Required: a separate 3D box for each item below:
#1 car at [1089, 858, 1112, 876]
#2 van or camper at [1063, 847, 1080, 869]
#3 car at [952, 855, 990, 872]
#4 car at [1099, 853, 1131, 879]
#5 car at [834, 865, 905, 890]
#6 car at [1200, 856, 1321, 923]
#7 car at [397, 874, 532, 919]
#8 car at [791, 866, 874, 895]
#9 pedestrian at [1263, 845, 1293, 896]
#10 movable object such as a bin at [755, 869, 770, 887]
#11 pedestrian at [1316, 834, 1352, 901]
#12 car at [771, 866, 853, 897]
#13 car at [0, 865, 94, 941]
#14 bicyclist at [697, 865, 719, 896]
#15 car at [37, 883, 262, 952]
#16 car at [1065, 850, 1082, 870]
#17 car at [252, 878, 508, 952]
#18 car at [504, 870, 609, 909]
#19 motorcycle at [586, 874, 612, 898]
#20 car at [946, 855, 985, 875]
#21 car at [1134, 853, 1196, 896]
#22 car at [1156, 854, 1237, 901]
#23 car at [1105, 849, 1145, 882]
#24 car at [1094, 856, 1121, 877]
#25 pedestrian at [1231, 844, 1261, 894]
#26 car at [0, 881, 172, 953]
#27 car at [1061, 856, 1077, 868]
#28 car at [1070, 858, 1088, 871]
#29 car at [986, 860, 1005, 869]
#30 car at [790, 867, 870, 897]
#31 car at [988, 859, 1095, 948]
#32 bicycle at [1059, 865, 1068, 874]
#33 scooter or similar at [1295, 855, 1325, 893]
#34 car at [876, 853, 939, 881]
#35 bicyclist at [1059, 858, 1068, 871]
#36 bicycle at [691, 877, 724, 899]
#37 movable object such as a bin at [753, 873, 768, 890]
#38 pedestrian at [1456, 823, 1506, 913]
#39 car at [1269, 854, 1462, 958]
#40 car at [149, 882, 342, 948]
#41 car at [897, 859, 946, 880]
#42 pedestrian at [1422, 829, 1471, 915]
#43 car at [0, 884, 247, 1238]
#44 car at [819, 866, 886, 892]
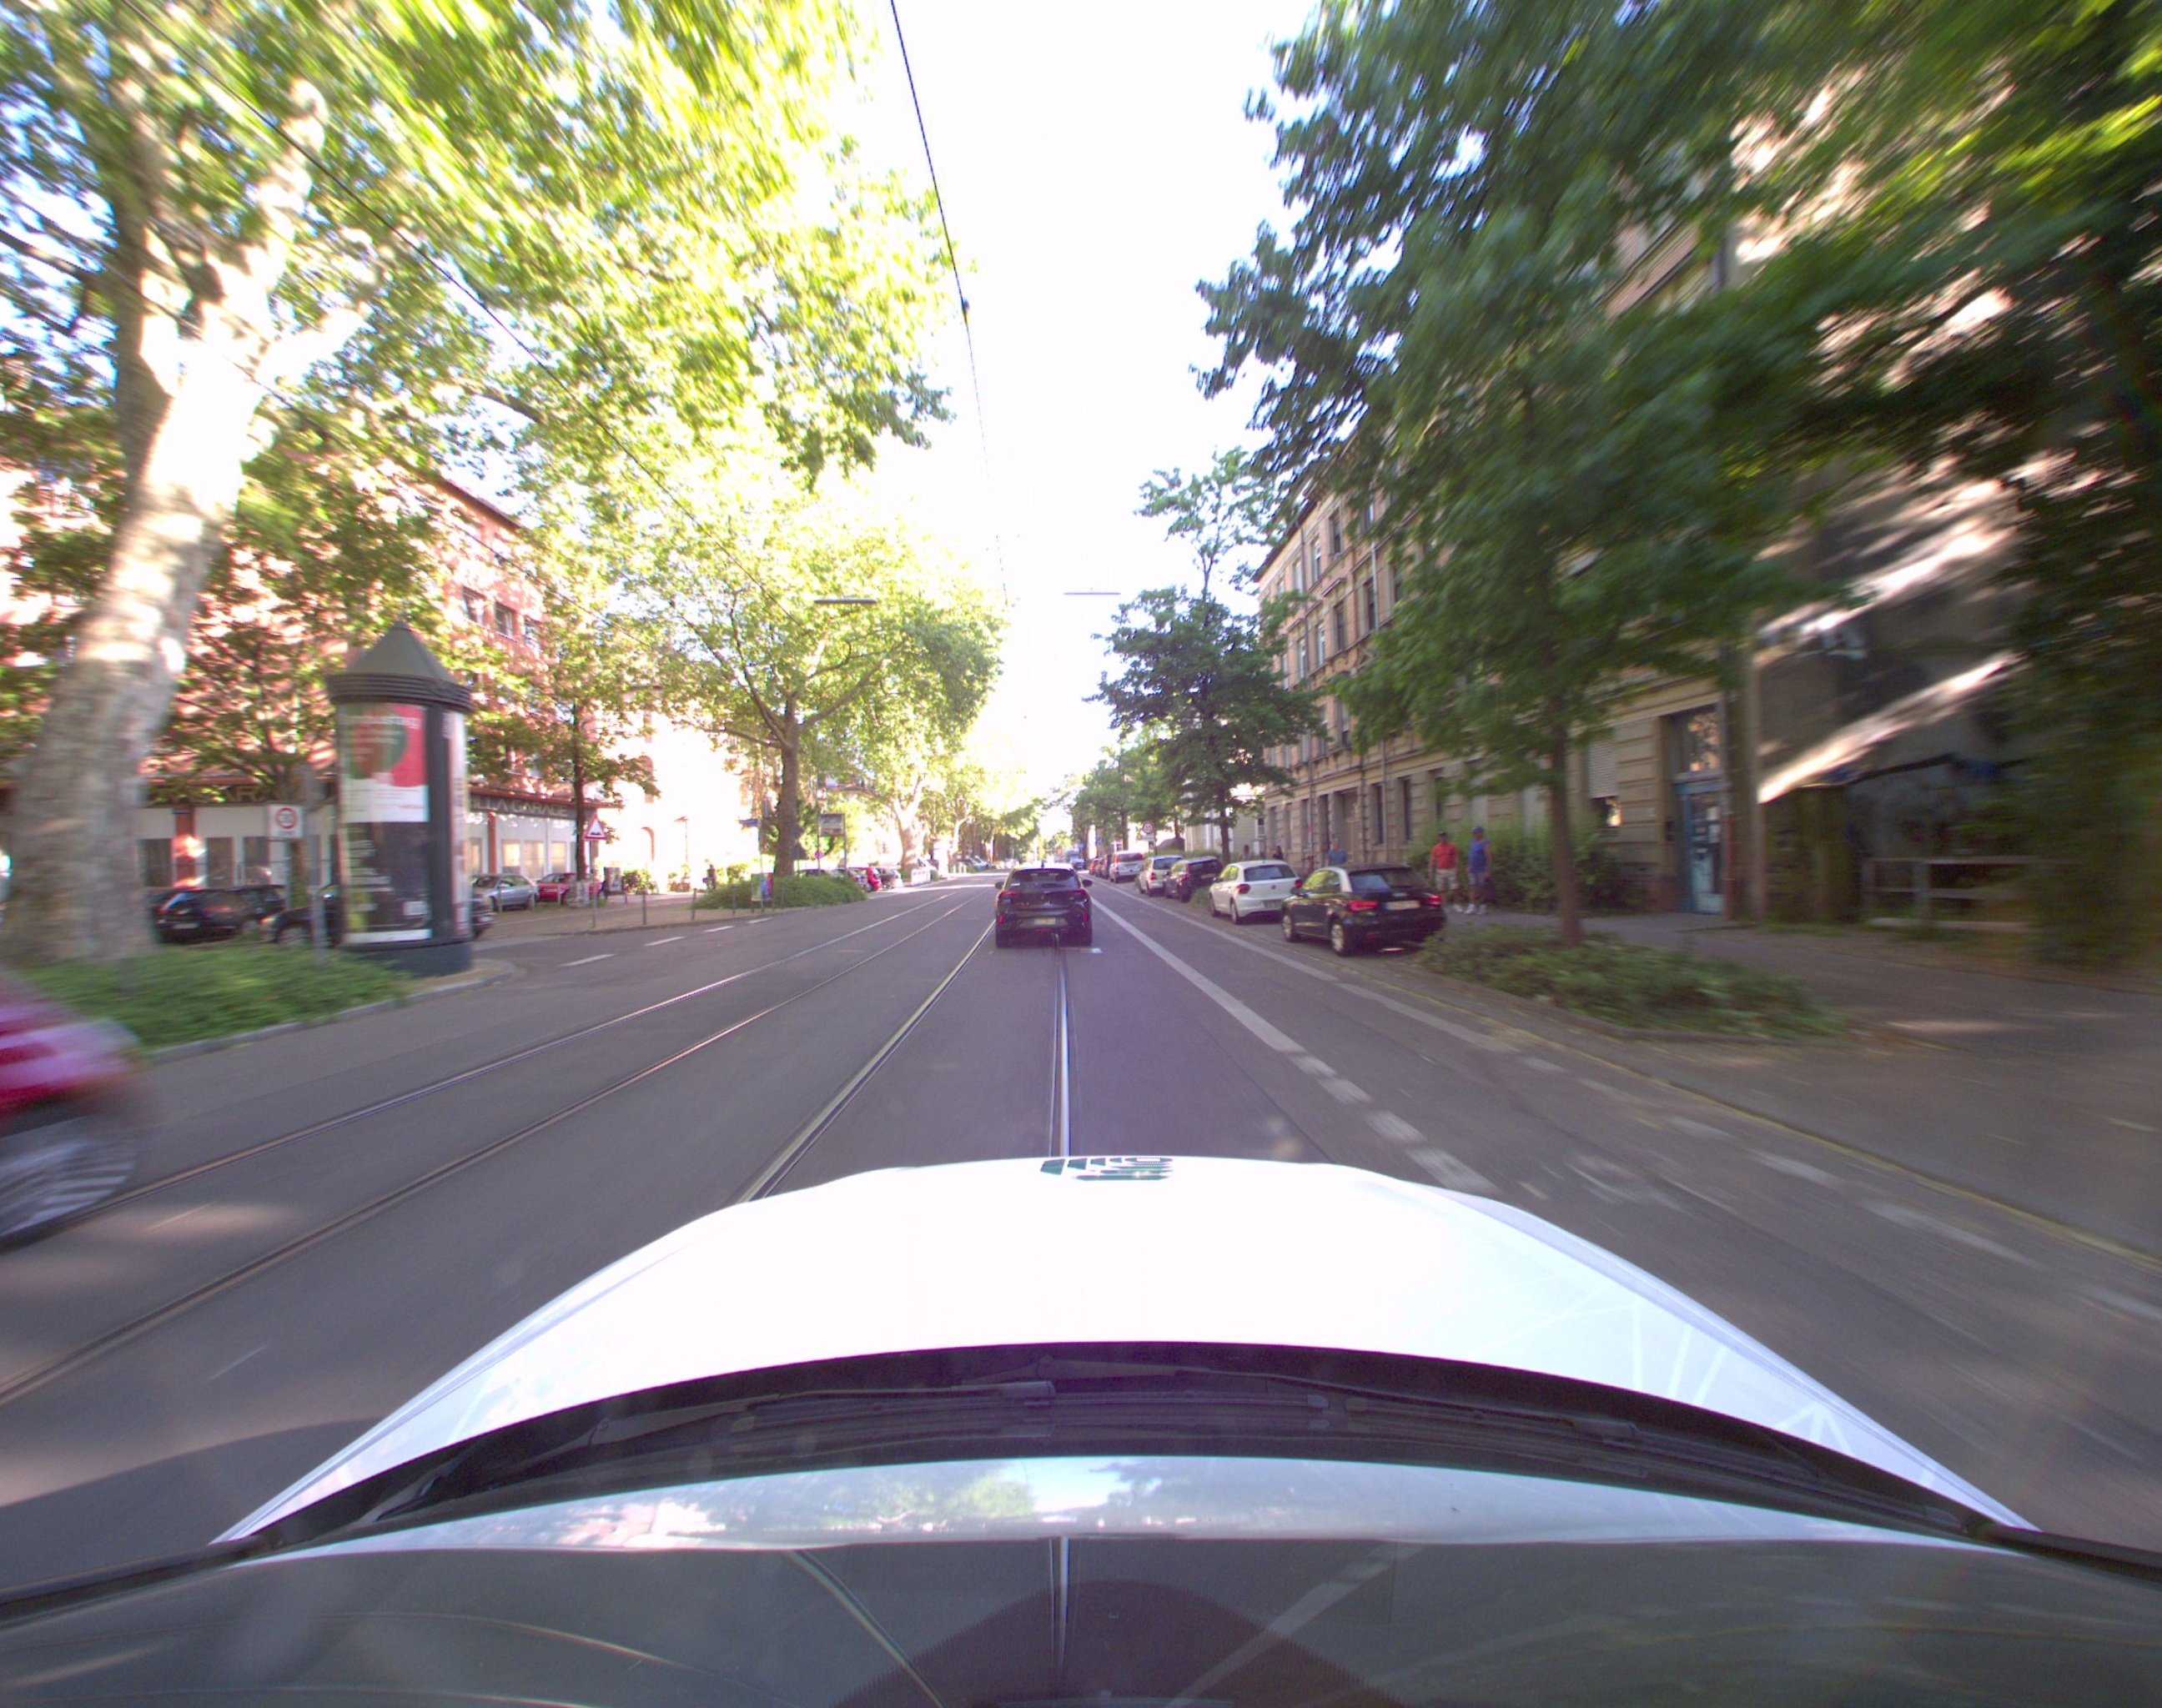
[{"bbox_3d":[1.739,1.170,73.770,1.699,1.423,3.974,-5,0,-3],"label":"car"},{"bbox_3d":[-1.484,0.607,123.718,2.249,3.216,5.524,-3,-1,-3],"label":"van or camper"},{"bbox_3d":[-17.239,1.435,128.291,5.619,2.593,2.196,-1,-1,0],"label":"car"},{"bbox_3d":[2.436,0.855,59.293,1.881,1.766,4.672,-2,-1,-3],"label":"car"},{"bbox_3d":[-13.059,1.452,50.460,3.978,1.465,1.852,-1,-1,-4],"label":"car"},{"bbox_3d":[4.364,0.826,20.517,1.880,1.368,4.102,-4,0,-3],"label":"car"},{"bbox_3d":[-21.803,1.468,29.008,1.943,1.407,3.889,-1,-1,-2],"label":"car"},{"bbox_3d":[-13.789,1.463,45.333,4.071,1.465,1.820,-1,-1,-1],"label":"car"},{"bbox_3d":[6.787,0.566,28.097,0.725,1.709,0.854,-1,-1,-7],"label":"pedestrian"},{"bbox_3d":[-20.724,1.566,52.980,0.721,1.109,0.560,-1,-1,-2],"label":"movable object such as a bin"},{"bbox_3d":[6.936,0.365,22.334,0.731,1.793,0.594,0,-1,-33],"label":"pedestrian"},{"bbox_3d":[-13.235,1.343,40.199,3.410,1.465,1.696,-1,-1,-1],"label":"car"},{"bbox_3d":[-29.635,1.319,21.441,1.995,2.003,4.900,-1,-1,-12],"label":"car"},{"bbox_3d":[-18.653,1.302,40.724,0.800,1.507,1.112,-1,-1,-13],"label":"bicyclist"},{"bbox_3d":[-24.754,1.612,21.910,1.996,1.526,3.982,-1,-1,-13],"label":"car"},{"bbox_3d":[-1.129,0.816,117.168,2.080,2.772,4.692,-3,0,-3],"label":"car"},{"bbox_3d":[-15.477,1.308,18.199,3.985,1.449,1.738,-1,0,-8],"label":"car"},{"bbox_3d":[-22.074,1.459,34.467,1.943,1.487,3.996,-1,-1,-2],"label":"car"},{"bbox_3d":[-27.520,1.816,46.532,0.598,1.288,1.625,-1,-1,-3],"label":"motorcycle"},{"bbox_3d":[-16.375,1.545,115.617,5.025,2.374,2.079,-5,0,-3],"label":"car"},{"bbox_3d":[3.498,0.824,34.549,1.880,1.568,4.237,-4,0,-3],"label":"car"},{"bbox_3d":[4.128,0.817,29.872,1.881,1.467,4.586,-4,0,-5],"label":"car"},{"bbox_3d":[2.655,0.704,50.296,1.880,1.851,4.961,-4,0,-3],"label":"car"},{"bbox_3d":[2.086,0.964,65.078,1.709,1.514,4.030,-4,0,-4],"label":"car"},{"bbox_3d":[5.682,0.511,28.052,0.725,1.693,0.955,-1,-1,-6],"label":"pedestrian"},{"bbox_3d":[-27.045,1.582,21.330,1.995,1.618,4.539,-1,-1,-12],"label":"car"},{"bbox_3d":[-1.913,1.296,130.888,2.249,1.840,5.524,-3,0,-3],"label":"car"},{"bbox_3d":[-0.279,1.287,99.750,1.880,1.434,4.525,-4,0,-3],"label":"car"},{"bbox_3d":[-20.066,2.459,190.976,3.970,2.014,2.002,-1,-1,3],"label":"car"},{"bbox_3d":[-13.043,1.432,42.437,3.591,1.465,1.686,-1,-1,-1],"label":"car"},{"bbox_3d":[-0.739,0.841,15.543,1.759,1.460,3.946,-1,-1,-3],"label":"car"},{"bbox_3d":[-2.053,1.792,95.348,0.966,0.999,2.579,-1,-1,-4],"label":"bicycle"},{"bbox_3d":[7.559,0.652,26.967,0.574,1.246,1.334,-1,-1,-2],"label":"scooter or similar"},{"bbox_3d":[-14.813,1.093,69.776,5.027,2.259,2.081,-1,-1,-7],"label":"car"},{"bbox_3d":[-2.070,1.246,95.334,0.956,1.499,1.092,-1,-1,-5],"label":"bicyclist"},{"bbox_3d":[-18.620,1.676,40.618,0.969,0.999,2.571,-1,-1,-13],"label":"bicycle"},{"bbox_3d":[-20.631,1.764,52.425,0.722,1.109,0.542,-1,-1,-2],"label":"movable object such as a bin"},{"bbox_3d":[8.193,0.285,16.682,0.598,1.793,0.727,-1,-1,-6],"label":"pedestrian"},{"bbox_3d":[4.674,0.787,14.012,1.670,1.412,3.836,-4,0,-4],"label":"car"},{"bbox_3d":[-22.712,1.592,22.386,1.814,1.493,3.982,-1,-1,-13],"label":"car"},{"bbox_3d":[-14.794,1.429,75.761,4.293,1.801,1.922,-1,-1,-6],"label":"car"},{"bbox_3d":[7.781,0.374,17.368,0.599,1.793,0.725,-1,-1,-14],"label":"pedestrian"},{"bbox_3d":[-5.321,0.900,2.651,1.656,1.444,3.470,-2,-1,-2],"label":"car"},{"bbox_3d":[-13.324,1.446,47.594,3.410,1.465,1.758,-1,-1,-1],"label":"car"}]
